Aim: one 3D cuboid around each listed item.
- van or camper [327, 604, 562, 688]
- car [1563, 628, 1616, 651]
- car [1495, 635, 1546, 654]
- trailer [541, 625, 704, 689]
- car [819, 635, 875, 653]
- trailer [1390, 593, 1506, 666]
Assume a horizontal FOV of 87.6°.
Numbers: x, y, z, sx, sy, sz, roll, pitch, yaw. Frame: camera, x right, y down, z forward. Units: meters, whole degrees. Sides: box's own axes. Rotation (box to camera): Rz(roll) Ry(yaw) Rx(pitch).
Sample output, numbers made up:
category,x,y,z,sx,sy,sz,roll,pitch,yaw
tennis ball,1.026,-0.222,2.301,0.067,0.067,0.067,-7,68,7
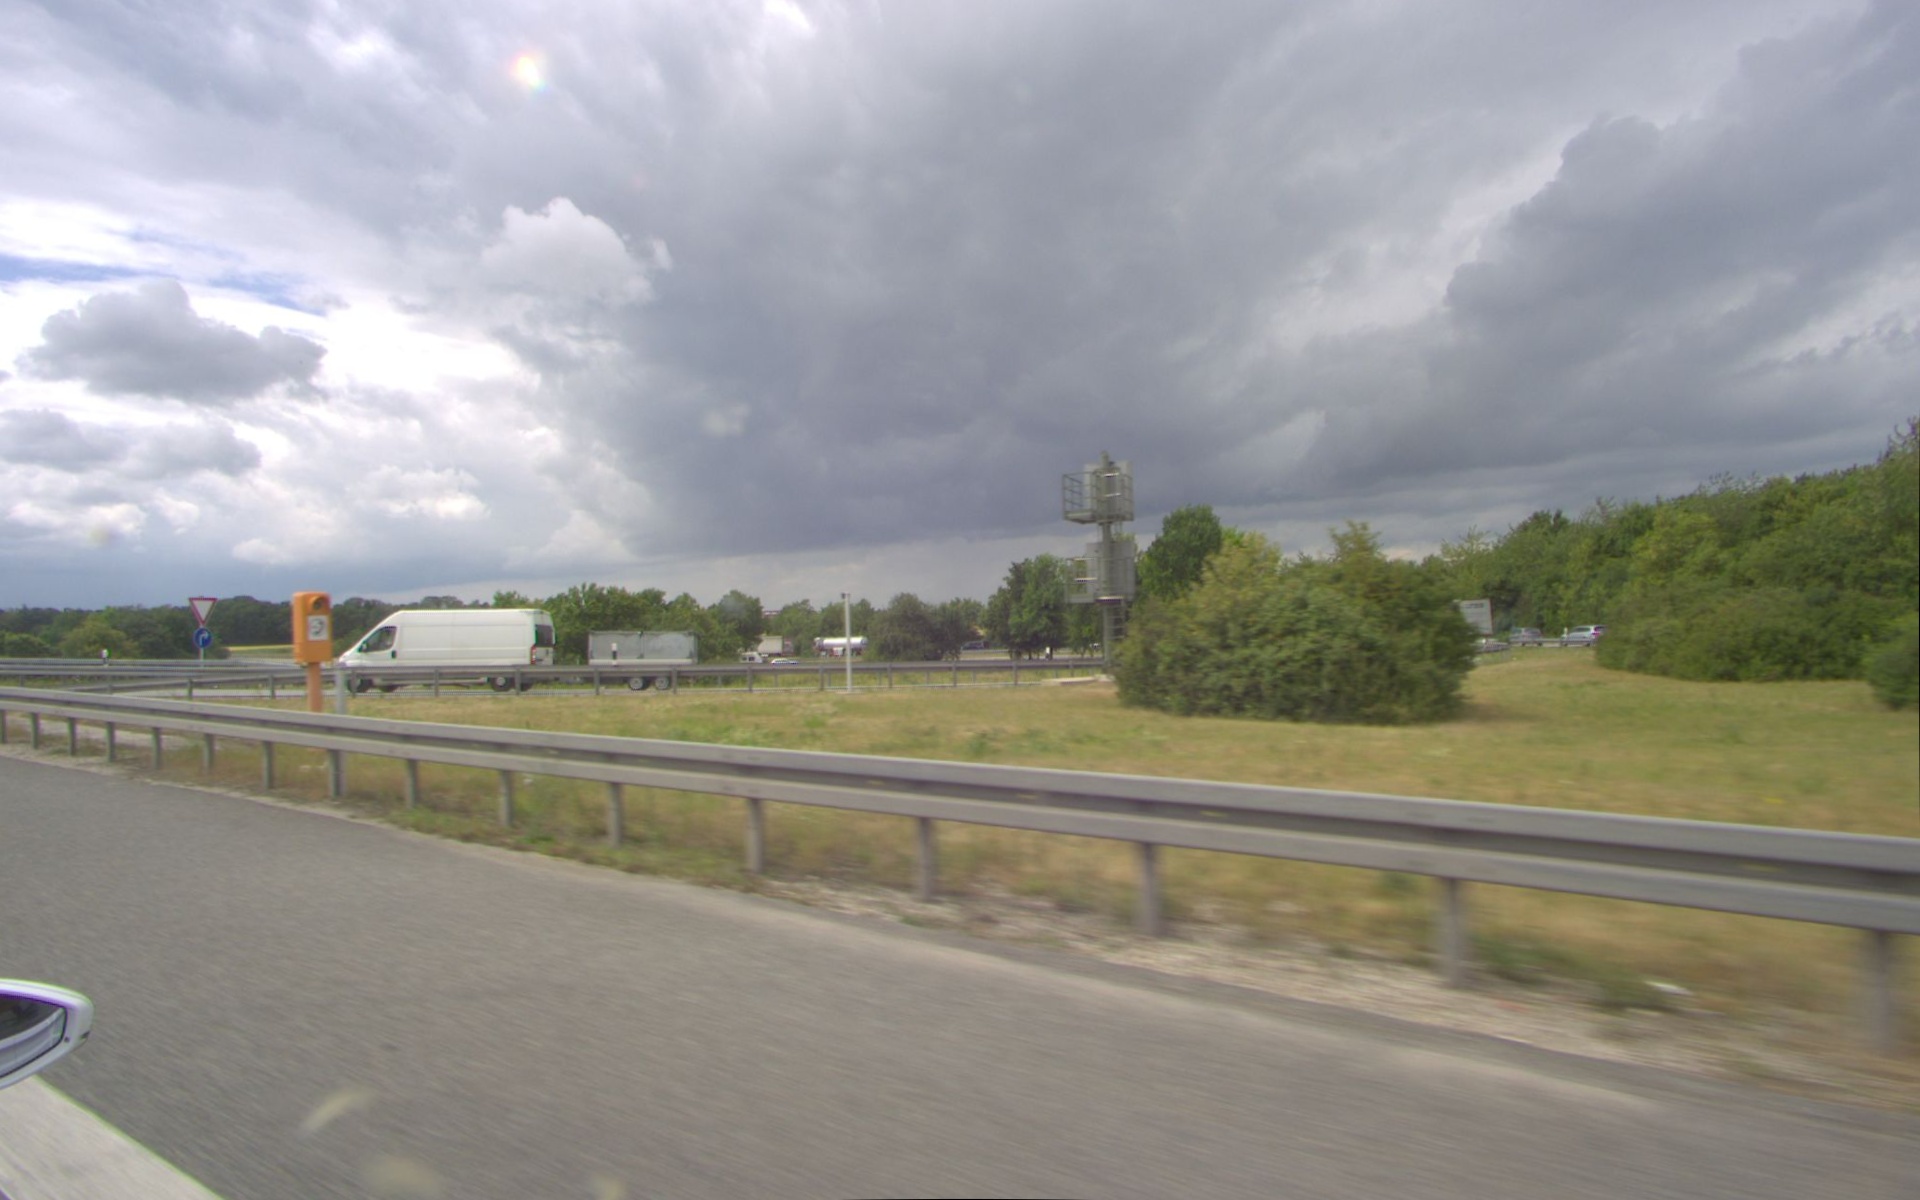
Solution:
category,x,y,z,sx,sy,sz,roll,pitch,yaw
van or camper,-15.346,1.364,30.148,5.826,2.391,2.231,0,-2,-7
car,43.815,2.749,69.775,1.540,1.552,4.001,0,-2,6
car,44.042,3.486,78.728,1.798,1.505,4.002,0,-2,1
trailer,-10.272,1.717,30.801,4.420,1.865,2.000,0,-1,-7
car,-20.127,7.845,178.202,11.644,3.118,3.422,-2,-3,45
trailer,43.768,2.748,90.519,3.940,6.165,12.100,0,-2,-3
